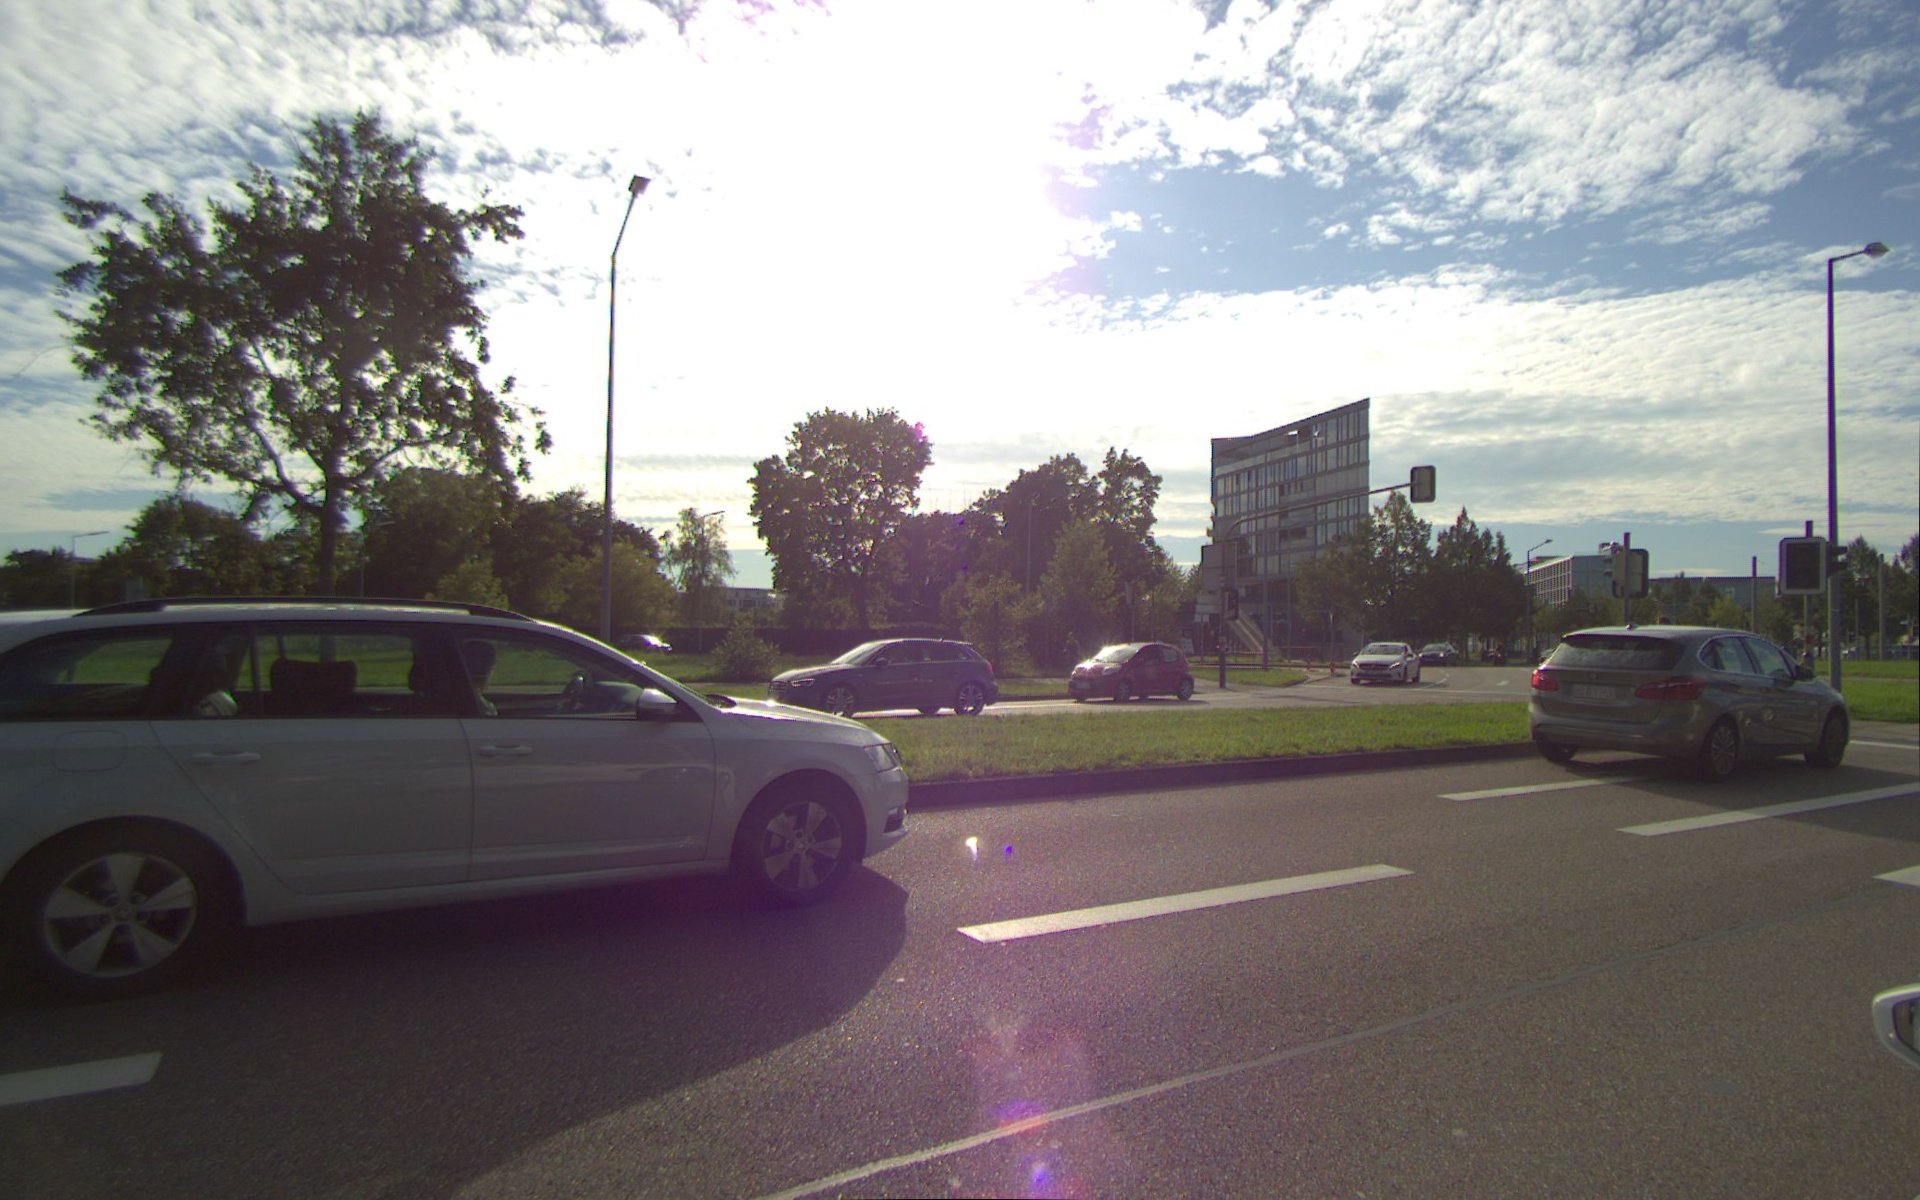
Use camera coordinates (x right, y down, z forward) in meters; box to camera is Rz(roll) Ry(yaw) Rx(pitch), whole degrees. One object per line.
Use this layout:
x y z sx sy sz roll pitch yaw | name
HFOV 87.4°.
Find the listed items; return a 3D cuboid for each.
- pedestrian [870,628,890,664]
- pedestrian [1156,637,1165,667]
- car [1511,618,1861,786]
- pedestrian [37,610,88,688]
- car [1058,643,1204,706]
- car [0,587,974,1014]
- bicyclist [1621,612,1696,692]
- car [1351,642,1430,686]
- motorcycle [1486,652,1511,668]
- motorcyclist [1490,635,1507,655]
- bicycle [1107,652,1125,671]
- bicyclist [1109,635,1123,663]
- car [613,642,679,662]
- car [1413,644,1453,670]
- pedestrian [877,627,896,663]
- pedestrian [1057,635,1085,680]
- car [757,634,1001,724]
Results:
-4.429 2.521 55.744 0.879 1.942 0.867 2 0 7 | pedestrian
11.092 2.890 55.615 0.495 1.646 0.548 0 -2 10 | pedestrian
8.296 1.060 11.417 4.020 1.593 1.759 2 -1 -30 | car
-19.356 1.051 21.678 0.649 1.651 0.624 1 -1 -28 | pedestrian
4.338 1.835 25.297 3.557 1.452 1.668 2 -3 -36 | car
-2.368 0.744 5.054 4.584 1.464 1.842 2 -1 -30 | car
14.072 1.040 20.251 0.984 1.576 0.860 2 -2 -25 | bicyclist
15.295 2.224 35.581 1.659 1.452 3.979 -1 -3 37 | car
38.320 4.274 71.467 2.005 0.999 0.776 0 0 -38 | motorcycle
38.330 3.205 71.510 0.935 1.384 0.776 2 -3 -37 | motorcyclist
8.468 3.330 54.453 0.599 1.001 1.838 -1 -2 19 | bicycle
8.428 2.657 54.378 0.599 1.464 0.698 0 -2 21 | bicyclist
-21.376 3.507 68.417 3.913 1.293 1.687 0 -2 14 | car
29.663 3.581 62.956 1.753 1.520 3.985 -3 -4 32 | car
-4.127 2.536 56.549 0.879 1.942 0.867 2 0 7 | pedestrian
3.893 2.012 35.176 0.620 1.528 0.752 3 1 42 | pedestrian
-1.428 1.395 18.156 4.024 1.452 1.841 2 -4 -33 | car
